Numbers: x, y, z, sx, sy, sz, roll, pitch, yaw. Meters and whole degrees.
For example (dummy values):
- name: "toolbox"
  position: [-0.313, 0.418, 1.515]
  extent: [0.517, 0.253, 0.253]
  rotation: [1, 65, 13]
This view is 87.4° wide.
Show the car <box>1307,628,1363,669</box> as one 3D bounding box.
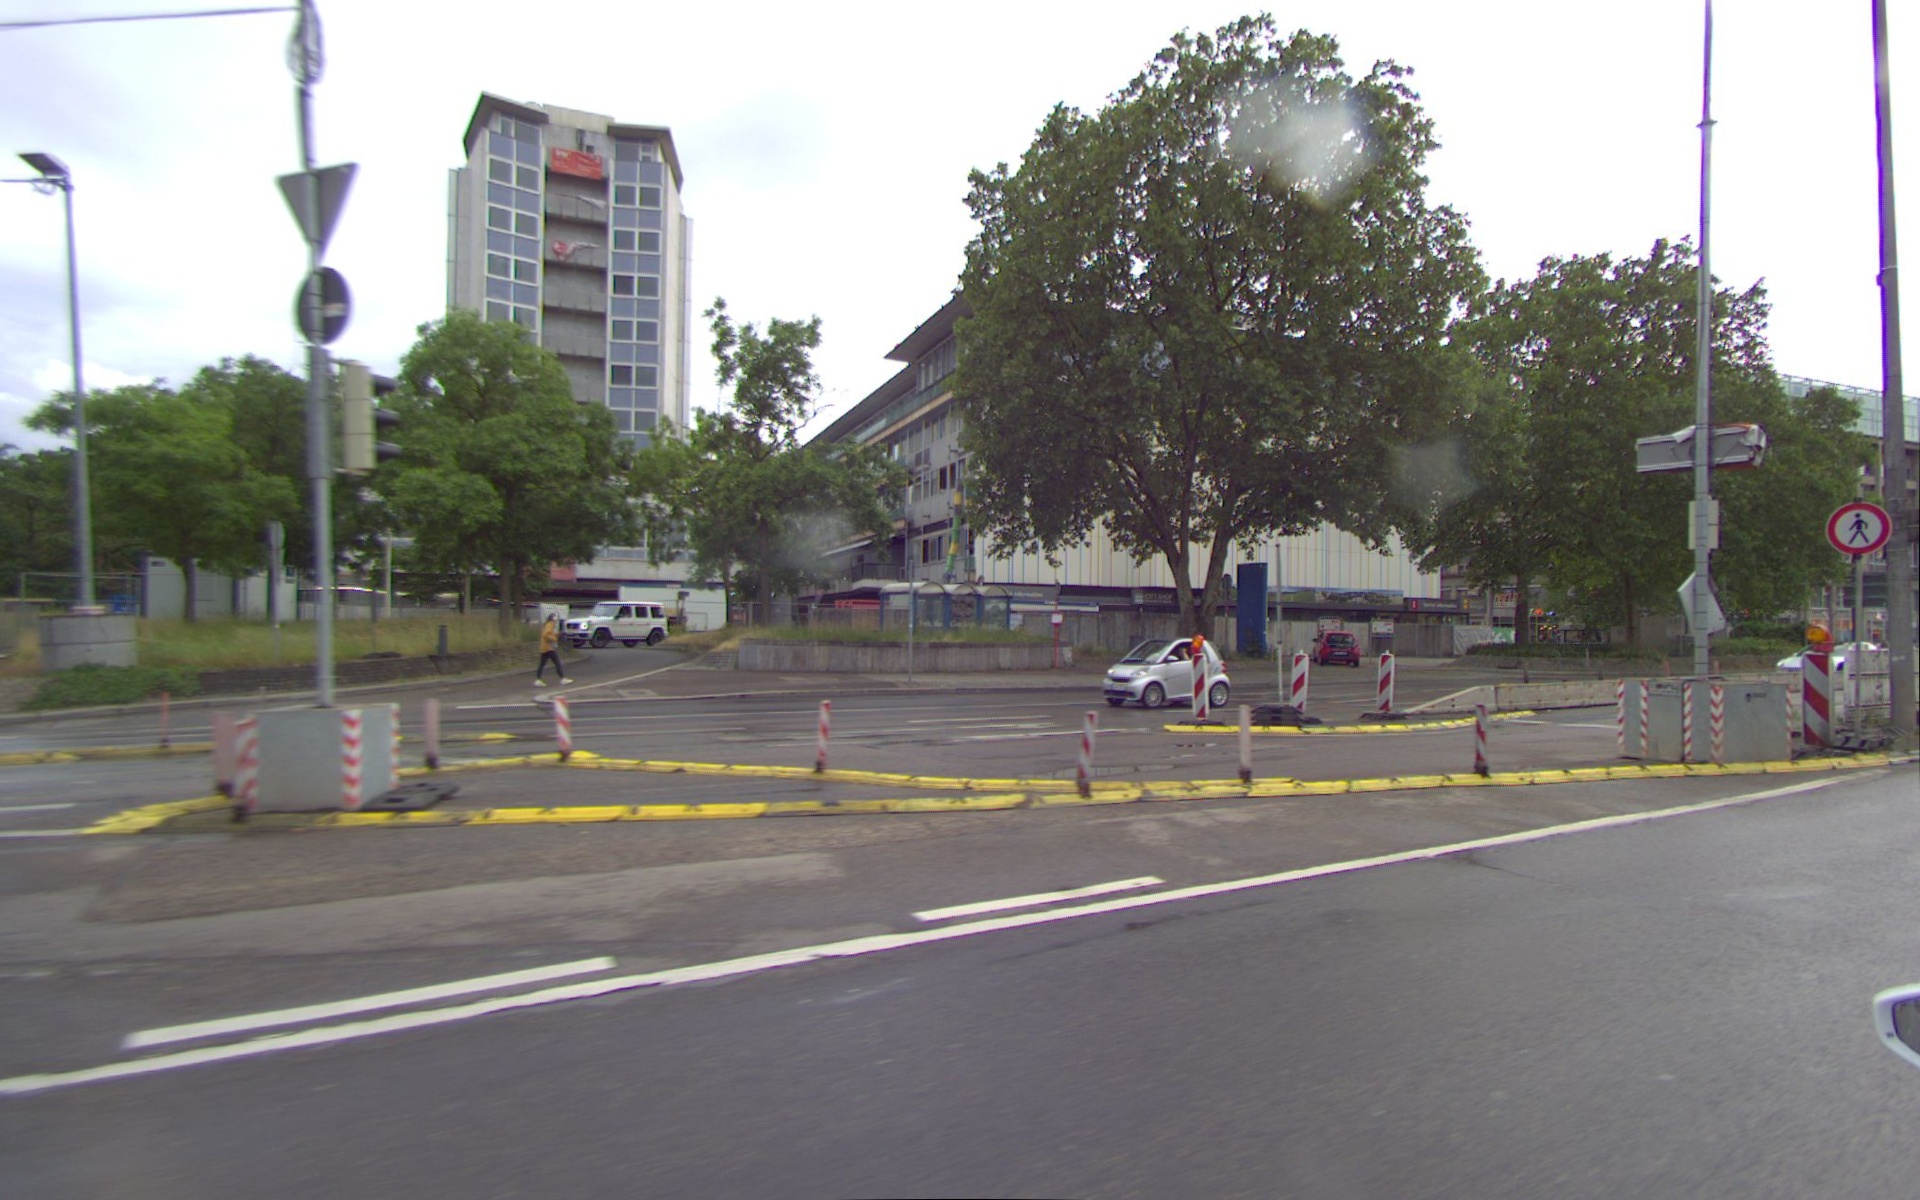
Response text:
- name: "car"
  position: [16.343, 2.081, 43.916]
  extent: [1.815, 1.563, 3.746]
  rotation: [0, 1, 13]

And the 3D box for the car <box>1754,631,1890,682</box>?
- name: "car"
  position: [30.796, 2.002, 35.871]
  extent: [4.755, 1.653, 1.987]
  rotation: [2, 0, -26]

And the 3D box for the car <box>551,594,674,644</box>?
- name: "car"
  position: [-14.887, 0.855, 43.321]
  extent: [2.001, 2.040, 4.821]
  rotation: [-1, -2, 33]

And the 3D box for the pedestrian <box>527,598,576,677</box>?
- name: "pedestrian"
  position: [-9.314, 0.833, 22.891]
  extent: [0.940, 1.748, 0.554]
  rotation: [-1, 1, -30]

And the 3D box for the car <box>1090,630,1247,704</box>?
- name: "car"
  position: [4.727, 1.520, 22.779]
  extent: [3.132, 1.563, 1.672]
  rotation: [3, -3, -27]
